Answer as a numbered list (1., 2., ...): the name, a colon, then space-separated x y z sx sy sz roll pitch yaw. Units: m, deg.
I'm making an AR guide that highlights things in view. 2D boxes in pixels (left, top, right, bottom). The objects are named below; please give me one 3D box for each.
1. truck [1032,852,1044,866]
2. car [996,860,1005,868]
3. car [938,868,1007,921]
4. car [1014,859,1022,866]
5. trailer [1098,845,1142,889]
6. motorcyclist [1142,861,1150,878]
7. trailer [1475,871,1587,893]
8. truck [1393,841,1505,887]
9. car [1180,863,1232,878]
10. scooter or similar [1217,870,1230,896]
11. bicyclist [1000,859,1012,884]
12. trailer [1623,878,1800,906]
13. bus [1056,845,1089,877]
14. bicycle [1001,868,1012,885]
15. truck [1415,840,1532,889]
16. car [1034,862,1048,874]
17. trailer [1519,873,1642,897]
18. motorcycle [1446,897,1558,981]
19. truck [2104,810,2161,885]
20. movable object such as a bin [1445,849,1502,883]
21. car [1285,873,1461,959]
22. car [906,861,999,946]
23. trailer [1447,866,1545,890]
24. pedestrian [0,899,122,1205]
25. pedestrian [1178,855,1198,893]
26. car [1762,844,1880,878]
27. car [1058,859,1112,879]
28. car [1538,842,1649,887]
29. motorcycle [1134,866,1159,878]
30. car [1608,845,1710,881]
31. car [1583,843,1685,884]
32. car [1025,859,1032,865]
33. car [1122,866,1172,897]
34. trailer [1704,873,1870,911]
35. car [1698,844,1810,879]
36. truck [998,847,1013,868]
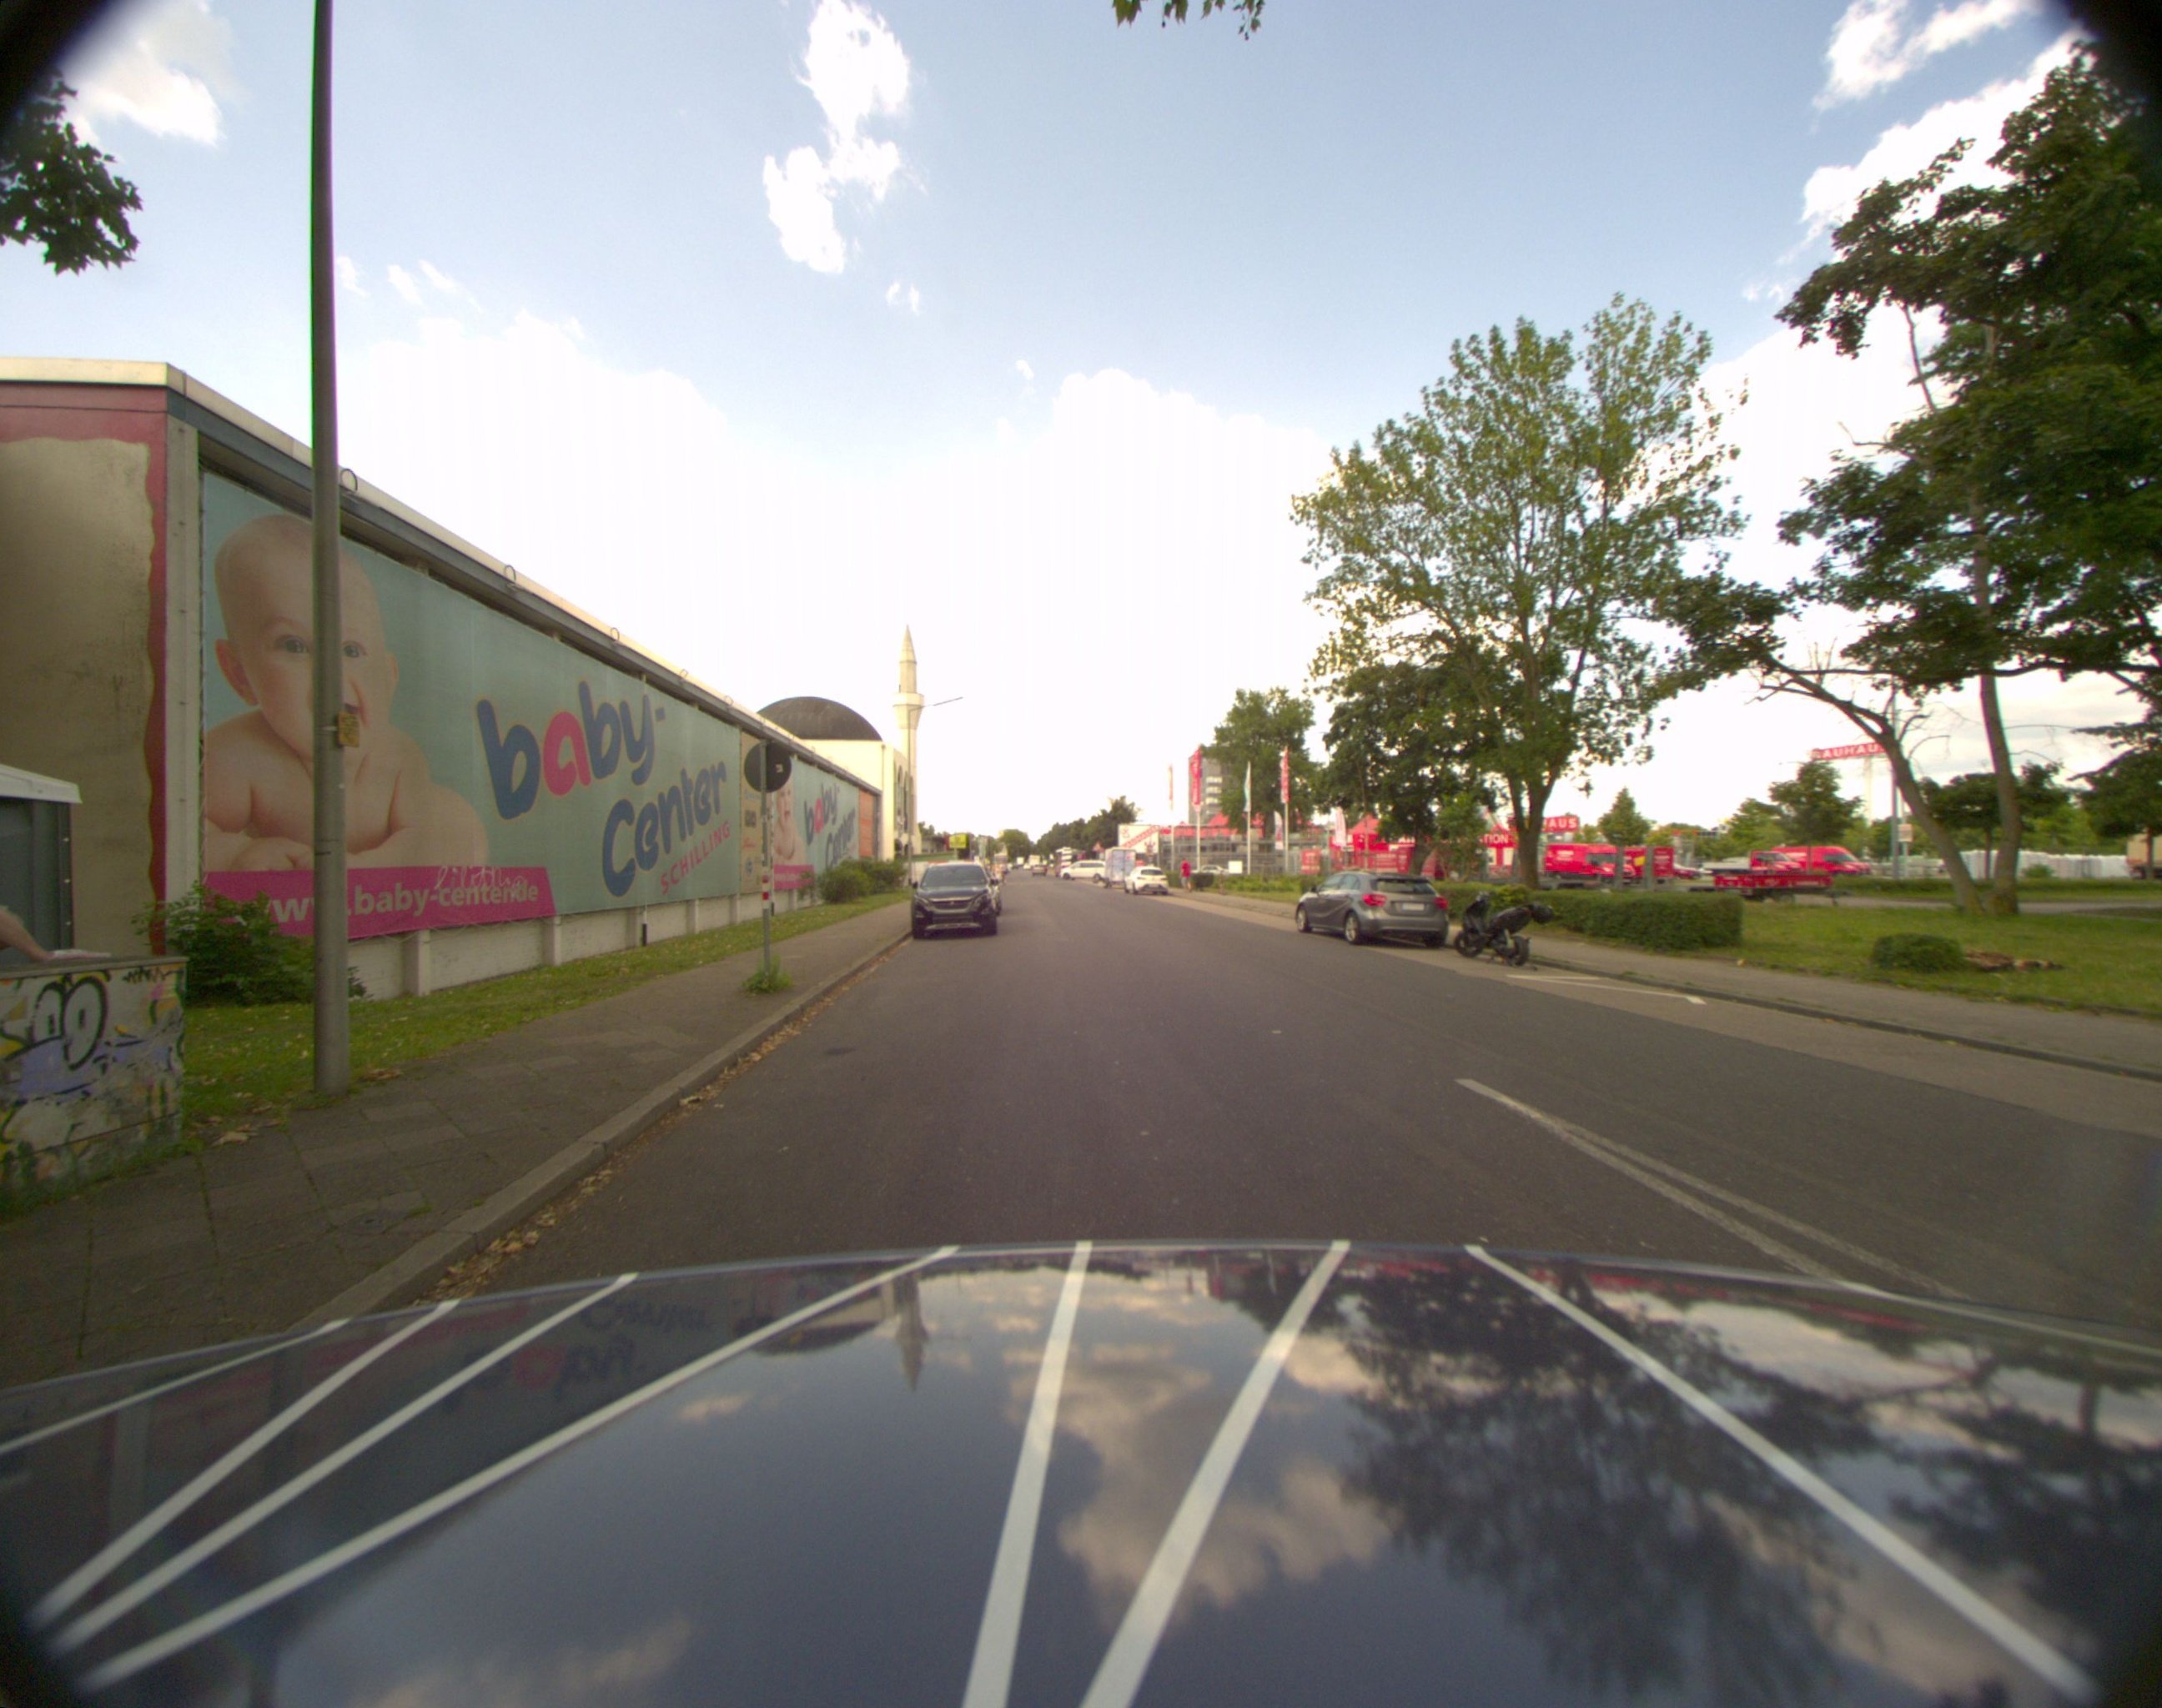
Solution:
1. truck: -11.556 1.280 201.883 2.756 3.701 7.167 1 0 -6
2. car: -15.699 1.990 148.111 1.666 1.332 3.983 -4 0 -6
3. car: -3.376 1.223 24.392 1.813 1.382 4.586 -3 0 -4
4. car: -16.208 2.135 195.814 1.798 1.881 3.998 0 -1 -6
5. trailer: 2.562 0.848 50.744 2.146 2.766 4.701 2 -1 -6
6. motorcyclist: 6.401 1.504 74.674 0.676 1.712 0.994 0 0 -5
7. trailer: 21.702 1.340 36.740 4.247 0.907 2.157 0 1 -7
8. truck: 21.614 0.555 44.747 5.771 2.579 1.814 0 2 -3
9. car: 12.331 1.639 75.056 4.697 1.445 1.954 0 0 -4
10. scooter or similar: 6.906 1.408 36.870 0.518 1.186 1.280 -1 0 6
11. bicyclist: -5.549 1.300 56.259 0.809 1.782 1.206 -2 1 -6
12. trailer: 22.711 1.350 27.530 4.606 0.907 2.188 0 -1 0
13. bus: -1.123 0.816 89.845 2.671 3.402 13.212 3 -1 -5
14. bicycle: -5.527 1.661 56.194 0.800 1.173 2.625 -2 0 -6
15. truck: 21.410 0.553 41.525 5.564 2.579 1.778 0 2 -5
16. car: -5.003 1.690 94.834 1.596 1.456 3.760 1 -1 -6
17. trailer: 21.872 1.341 33.358 4.247 0.907 2.021 0 1 -7
18. motorcycle: 6.668 1.318 12.151 0.623 1.131 1.802 3 0 -5
19. truck: 60.381 -0.373 40.482 8.348 3.927 2.985 0 2 -5
20. movable object such as a bin: 27.671 0.844 53.663 1.999 2.261 3.544 0 0 -5
21. car: 5.858 1.179 15.881 1.714 1.411 4.329 2 -1 -4
22. car: -2.893 1.040 17.913 1.813 1.655 4.637 -3 0 -7
23. trailer: 21.354 1.229 39.130 4.247 1.114 1.670 0 2 -7
24. pedestrian: -5.203 0.874 3.231 1.016 1.306 0.965 0 0 3
25. pedestrian: 5.661 1.041 40.188 0.812 2.002 0.885 -1 0 -6
26. car: 56.415 0.473 58.176 2.273 2.402 6.433 0 1 -6
27. car: 0.377 1.441 75.141 5.008 1.937 1.994 0 0 12
28. car: 32.426 0.578 48.398 2.273 2.579 6.434 0 1 -5
29. motorcycle: 6.430 1.756 74.693 2.228 1.206 0.994 0 0 -5
30. car: 42.836 0.586 56.576 2.273 2.402 6.433 0 1 -6
31. car: 36.781 0.551 50.779 2.273 2.579 5.719 0 1 -5
32. car: -13.027 2.078 189.013 1.688 1.461 3.610 1 -1 -6
33. car: 3.426 1.400 40.274 1.771 1.470 4.233 2 -1 -6
34. trailer: 23.066 1.225 24.919 3.826 1.183 1.715 0 -1 0
35. car: 50.332 0.523 57.058 2.273 2.402 6.433 0 1 -6
36. truck: -16.143 0.750 162.677 2.786 4.092 8.275 -3 0 -5
